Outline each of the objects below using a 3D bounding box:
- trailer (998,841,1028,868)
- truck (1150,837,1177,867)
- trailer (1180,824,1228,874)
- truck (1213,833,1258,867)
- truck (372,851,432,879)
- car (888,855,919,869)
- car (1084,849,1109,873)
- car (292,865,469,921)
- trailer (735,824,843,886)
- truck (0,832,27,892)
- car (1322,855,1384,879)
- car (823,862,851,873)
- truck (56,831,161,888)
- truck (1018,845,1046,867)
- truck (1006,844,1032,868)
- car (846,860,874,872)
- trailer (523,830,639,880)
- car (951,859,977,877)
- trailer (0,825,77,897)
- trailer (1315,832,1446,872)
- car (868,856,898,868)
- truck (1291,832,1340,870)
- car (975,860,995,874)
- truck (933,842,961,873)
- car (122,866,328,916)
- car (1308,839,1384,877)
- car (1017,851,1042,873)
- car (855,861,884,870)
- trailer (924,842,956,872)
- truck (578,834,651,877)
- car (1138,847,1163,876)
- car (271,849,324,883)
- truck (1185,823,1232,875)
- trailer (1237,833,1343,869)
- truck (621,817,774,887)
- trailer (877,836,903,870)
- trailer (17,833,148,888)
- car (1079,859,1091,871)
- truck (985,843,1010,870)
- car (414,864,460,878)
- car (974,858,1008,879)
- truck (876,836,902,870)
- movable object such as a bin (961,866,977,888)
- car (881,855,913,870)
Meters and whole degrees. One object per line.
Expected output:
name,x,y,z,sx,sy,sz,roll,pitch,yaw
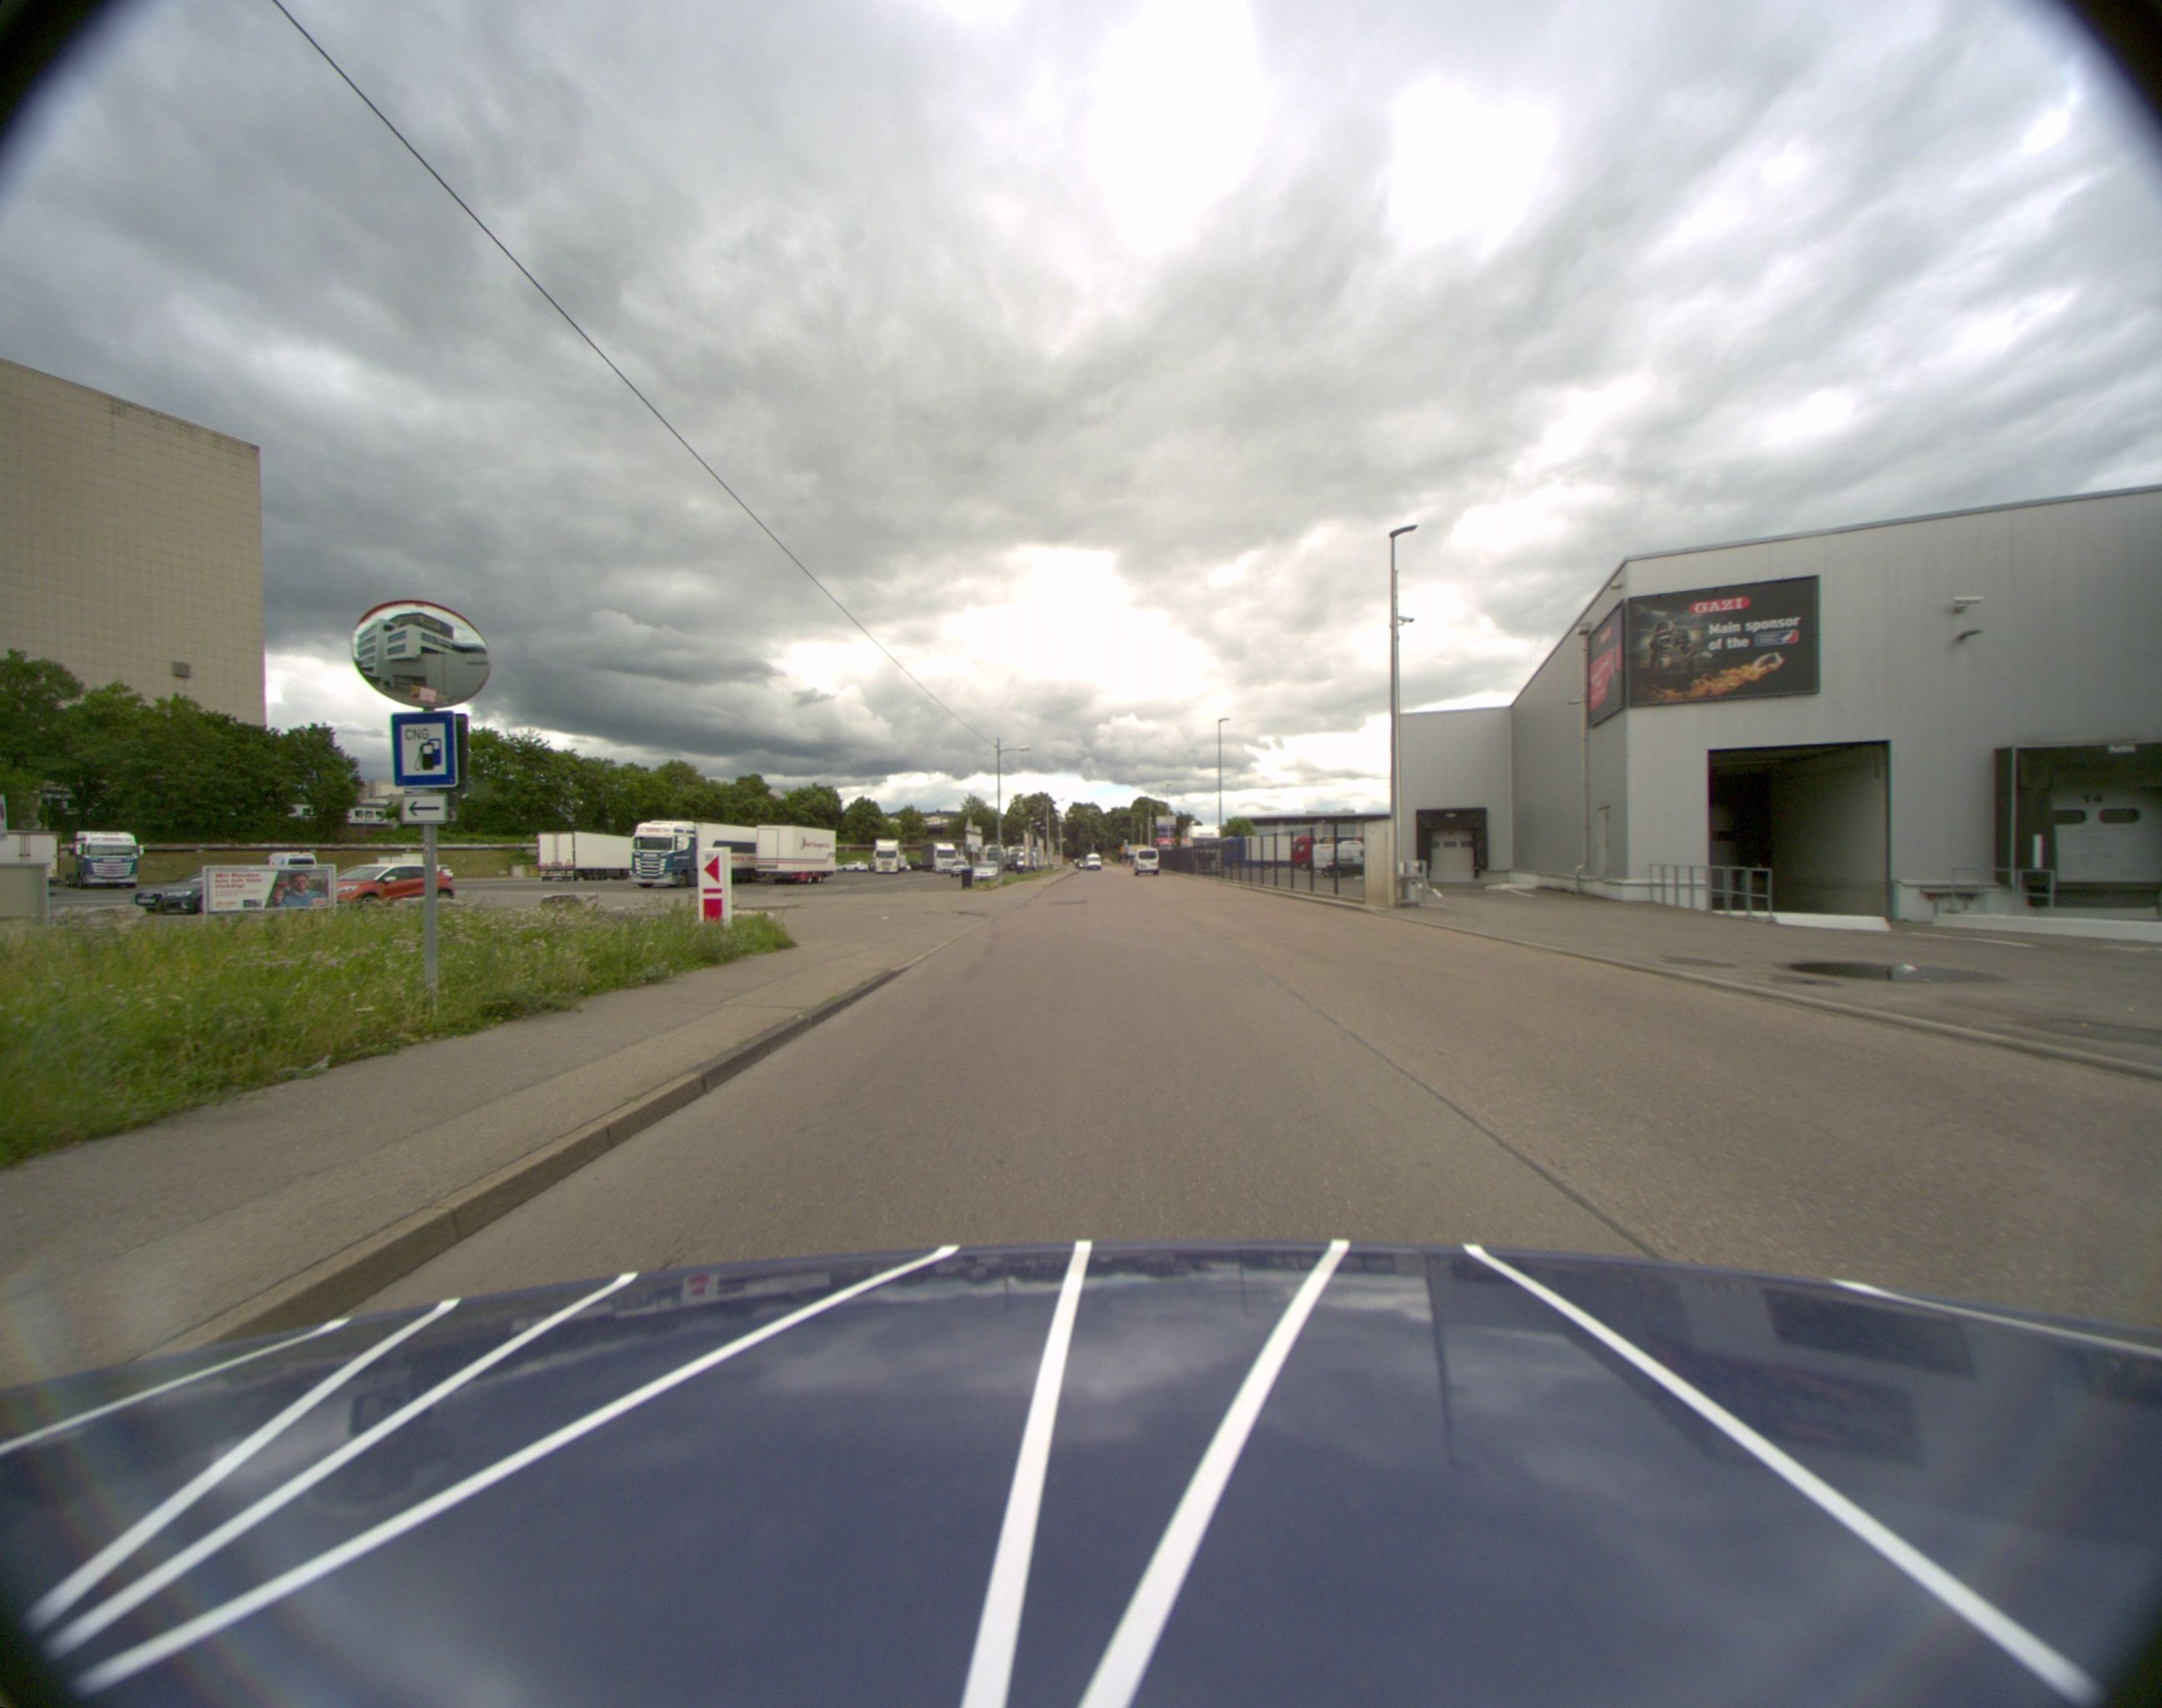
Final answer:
trailer,-11.131,0.166,123.093,2.841,4.071,13.379,0,0,-14
truck,10.745,-0.285,99.676,3.021,3.827,5.671,1,0,2
trailer,11.263,-0.414,70.711,3.366,4.136,13.854,1,0,5
truck,19.018,-0.497,93.703,4.877,4.108,3.049,1,0,2
truck,-64.417,0.995,72.032,5.941,2.476,2.286,1,0,28
car,-30.508,1.375,130.771,4.906,2.434,2.375,-1,0,33
car,2.259,1.050,116.808,3.339,3.586,8.668,-1,0,-2
car,-22.293,1.169,24.449,1.769,1.562,4.216,1,0,1
trailer,-20.481,0.084,54.161,2.964,3.944,10.408,1,0,4
truck,-77.787,0.606,53.228,7.237,4.148,3.719,-1,0,29
car,19.693,0.920,54.928,4.071,1.567,1.947,-2,-1,23
car,-37.675,2.121,117.242,3.989,1.599,2.004,0,0,31
truck,-71.589,0.426,55.923,7.237,3.941,3.719,-1,0,29
truck,-8.653,0.308,132.877,2.832,3.689,9.091,-1,0,-16
truck,-9.582,0.354,116.905,2.876,3.608,6.749,0,0,-13
car,-35.276,1.885,121.289,3.989,1.862,2.004,0,0,31
trailer,-42.919,0.138,66.022,3.644,3.887,13.724,-1,0,-12
car,-11.232,1.356,73.062,1.769,1.561,4.000,-3,0,1
trailer,-69.602,0.505,48.760,18.451,4.148,3.650,-1,0,29
trailer,32.783,-0.269,83.548,13.157,4.188,3.054,1,0,24
car,-32.741,1.356,125.654,4.707,1.881,2.004,-1,0,33
truck,26.661,-0.385,86.244,4.869,4.180,3.054,1,0,24
car,-10.971,1.499,86.853,1.496,1.486,4.054,-1,0,3
truck,-18.354,0.456,103.719,2.877,4.071,6.746,0,0,-18
car,-27.103,1.112,24.307,1.769,1.382,4.216,1,0,1
car,20.836,0.347,59.757,5.422,2.714,2.245,-2,-1,20
car,-5.797,0.888,86.553,2.091,2.401,6.085,-1,0,3
car,-34.573,1.864,124.021,4.707,1.431,2.004,-1,0,33
trailer,-20.636,0.485,110.589,2.842,4.071,13.375,0,0,-18
truck,-44.285,0.187,72.436,3.632,3.856,7.249,-1,0,-11
car,6.221,0.674,67.697,1.997,2.402,5.259,-2,0,6
car,-66.167,1.001,64.136,5.072,2.820,2.112,-1,0,33
truck,10.624,-0.403,63.739,3.366,4.136,5.629,1,0,5
trailer,25.329,-0.347,92.170,12.019,4.108,3.053,1,0,20
truck,-24.579,-0.122,49.982,3.082,3.944,13.070,1,0,2
trailer,-24.698,-0.071,98.894,2.841,4.071,13.382,0,0,-12
trailer,-79.544,0.540,60.340,18.451,3.935,3.650,-1,0,29
car,0.621,1.924,129.519,1.712,2.002,3.888,-1,0,-3
truck,-12.485,0.394,112.824,2.876,3.990,6.749,0,0,-13
car,-62.500,1.648,73.762,4.137,1.346,2.004,0,0,28
car,-6.503,1.041,55.259,1.777,1.455,4.561,-1,0,2
truck,-23.410,-0.082,92.901,2.875,4.071,6.749,0,0,-12
movable object such as a bin,-5.586,1.164,38.007,0.716,1.075,0.662,-1,0,-5
car,-30.989,1.411,127.943,4.906,2.434,2.375,-1,0,33
